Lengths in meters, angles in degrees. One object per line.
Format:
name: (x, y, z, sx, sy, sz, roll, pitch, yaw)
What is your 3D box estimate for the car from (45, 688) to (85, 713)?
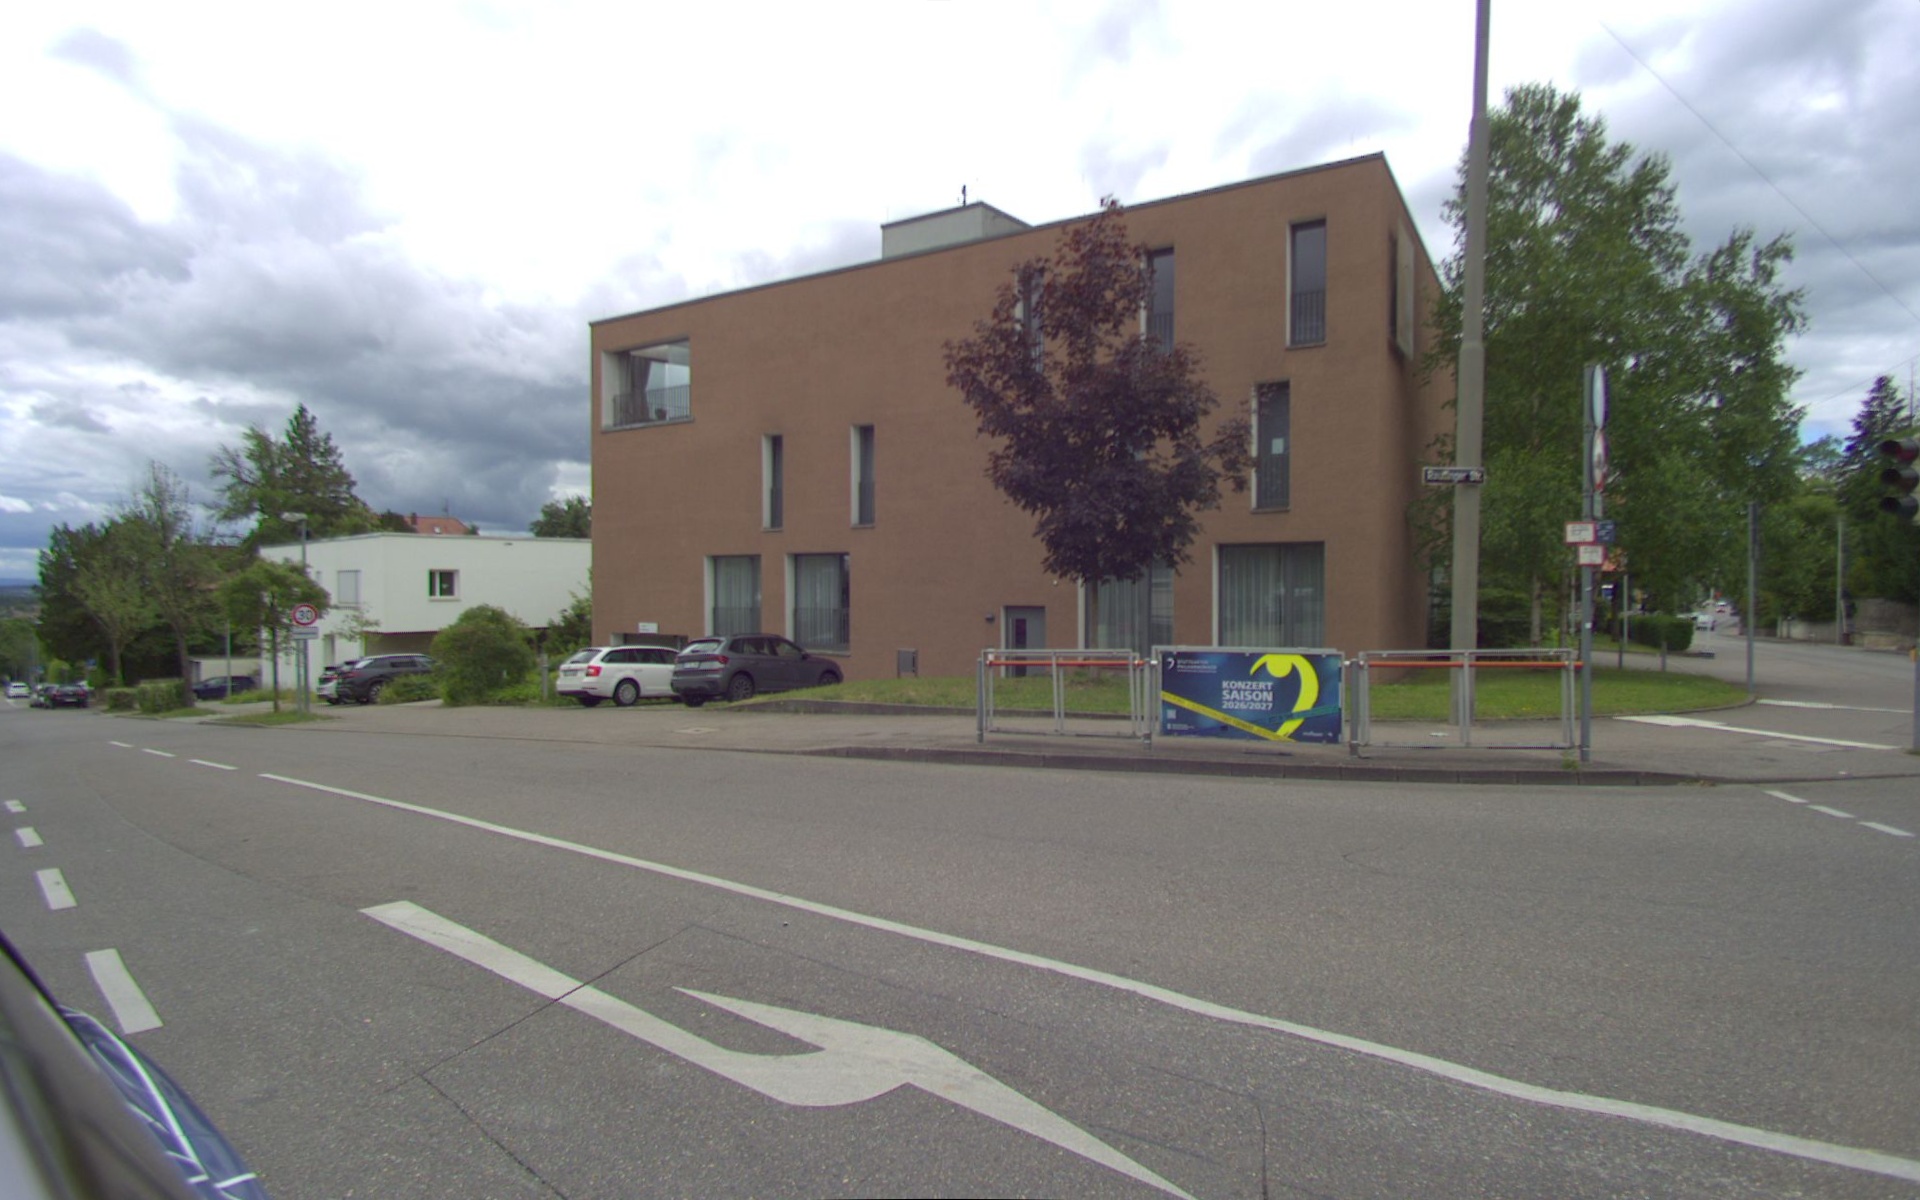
car: (-54.927, 6.158, 62.078, 1.638, 1.432, 4.003, 0, -4, -44)

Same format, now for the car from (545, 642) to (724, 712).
car: (-7.993, 1.874, 25.124, 1.724, 1.497, 3.950, -5, -4, 37)

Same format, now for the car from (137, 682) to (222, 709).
car: (-46.965, 5.726, 60.942, 3.939, 1.296, 1.665, 0, -4, -43)

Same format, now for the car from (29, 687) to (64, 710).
car: (-61.549, 6.615, 68.157, 1.638, 1.432, 4.371, 0, -4, -44)

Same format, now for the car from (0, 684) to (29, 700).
car: (-95.896, 9.281, 102.367, 4.362, 1.432, 1.861, -3, -3, 38)

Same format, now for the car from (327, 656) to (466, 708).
car: (-19.971, 2.891, 35.939, 1.793, 1.608, 3.943, -6, -4, 43)

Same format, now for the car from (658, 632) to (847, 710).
car: (-4.521, 1.544, 22.543, 1.724, 1.497, 3.950, -5, -4, 37)

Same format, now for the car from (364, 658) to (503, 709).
car: (-18.228, 2.870, 35.154, 1.727, 1.497, 3.943, -6, -4, 43)
